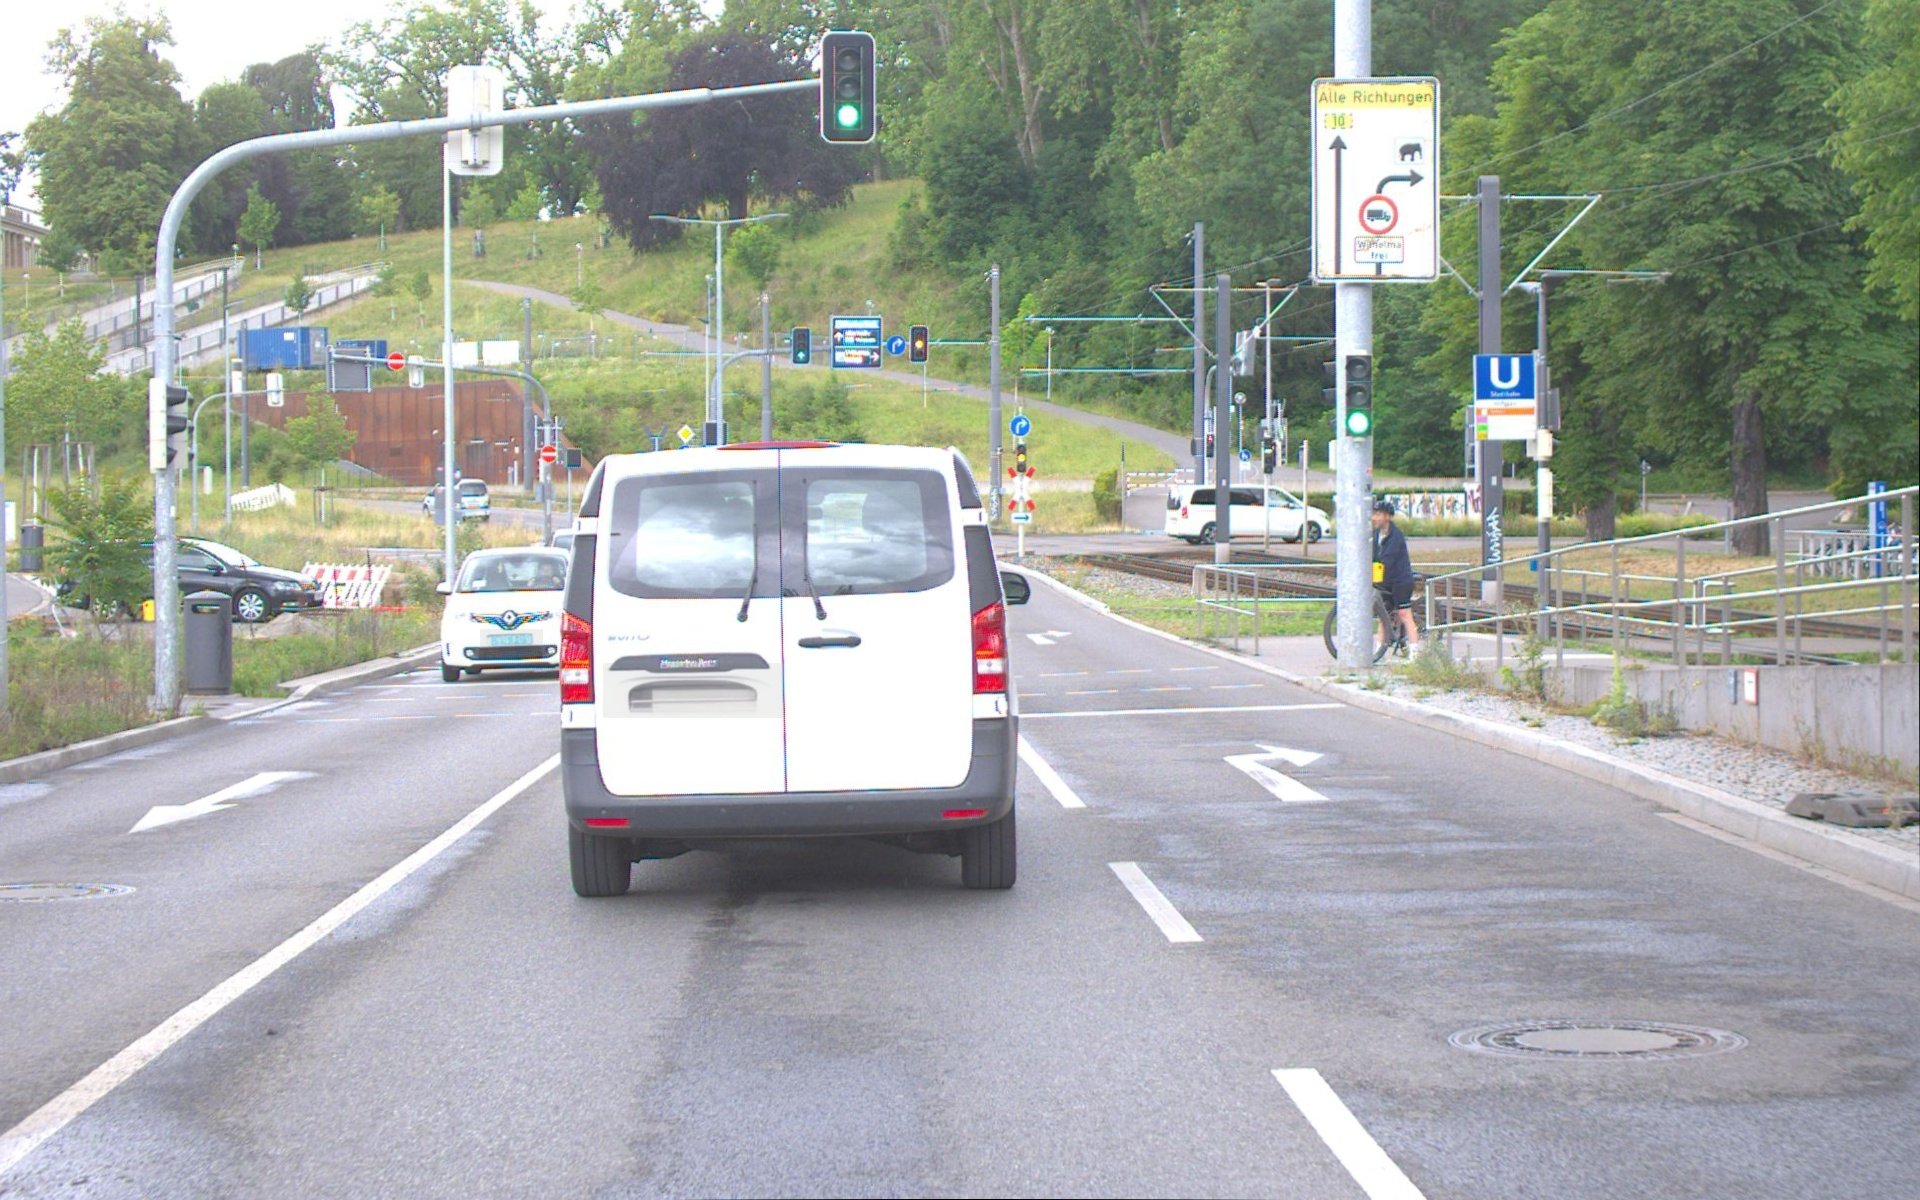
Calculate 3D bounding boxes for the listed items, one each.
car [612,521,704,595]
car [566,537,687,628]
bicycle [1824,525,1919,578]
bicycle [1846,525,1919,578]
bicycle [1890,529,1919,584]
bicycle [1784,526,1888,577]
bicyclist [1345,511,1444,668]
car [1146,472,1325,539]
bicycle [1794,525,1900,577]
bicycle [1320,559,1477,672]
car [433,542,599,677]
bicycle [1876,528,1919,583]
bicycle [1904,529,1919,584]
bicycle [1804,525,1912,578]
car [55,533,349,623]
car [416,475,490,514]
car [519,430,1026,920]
[{"bbox_3d":[-6.517,-0.909,74.602,1.730,1.523,4.445,-2,1,-2],"label":"car"},{"bbox_3d":[-5.562,-0.313,57.793,1.730,1.416,4.445,-2,1,-2],"label":"car"},{"bbox_3d":[17.408,-0.928,65.197,1.912,0.972,0.531,-1,1,-1],"label":"bicycle"},{"bbox_3d":[17.624,-0.918,64.387,1.912,0.972,0.531,-1,1,-1],"label":"bicycle"},{"bbox_3d":[17.636,-0.793,61.369,1.912,0.972,0.531,-1,1,-1],"label":"bicycle"},{"bbox_3d":[17.284,-0.960,67.829,1.912,0.972,0.531,-1,1,-1],"label":"bicycle"},{"bbox_3d":[4.429,-0.118,35.059,0.804,1.567,0.618,-2,3,-41],"label":"bicyclist"},{"bbox_3d":[8.589,-2.951,107.387,5.132,2.007,2.209,0,1,-13],"label":"car"},{"bbox_3d":[17.266,-0.946,66.903,1.912,0.972,0.531,-1,1,-1],"label":"bicycle"},{"bbox_3d":[4.486,0.146,35.125,1.679,1.070,0.620,-2,3,-41],"label":"bicycle"},{"bbox_3d":[-5.253,0.083,41.055,1.591,1.512,4.085,-1,1,-2],"label":"car"},{"bbox_3d":[17.599,-0.817,62.150,1.912,0.972,0.531,-1,1,-1],"label":"bicycle"},{"bbox_3d":[17.691,-0.783,60.629,1.912,0.972,0.531,-1,1,-1],"label":"bicycle"},{"bbox_3d":[17.217,-0.933,65.921,1.912,0.972,0.531,-1,1,-1],"label":"bicycle"},{"bbox_3d":[-13.556,-0.405,61.604,4.711,1.472,2.000,-1,2,9],"label":"car"},{"bbox_3d":[-21.765,-4.517,147.435,1.937,1.621,4.001,0,2,-28],"label":"car"},{"bbox_3d":[-0.709,0.247,15.524,1.959,1.897,4.461,0,1,0],"label":"car"}]
